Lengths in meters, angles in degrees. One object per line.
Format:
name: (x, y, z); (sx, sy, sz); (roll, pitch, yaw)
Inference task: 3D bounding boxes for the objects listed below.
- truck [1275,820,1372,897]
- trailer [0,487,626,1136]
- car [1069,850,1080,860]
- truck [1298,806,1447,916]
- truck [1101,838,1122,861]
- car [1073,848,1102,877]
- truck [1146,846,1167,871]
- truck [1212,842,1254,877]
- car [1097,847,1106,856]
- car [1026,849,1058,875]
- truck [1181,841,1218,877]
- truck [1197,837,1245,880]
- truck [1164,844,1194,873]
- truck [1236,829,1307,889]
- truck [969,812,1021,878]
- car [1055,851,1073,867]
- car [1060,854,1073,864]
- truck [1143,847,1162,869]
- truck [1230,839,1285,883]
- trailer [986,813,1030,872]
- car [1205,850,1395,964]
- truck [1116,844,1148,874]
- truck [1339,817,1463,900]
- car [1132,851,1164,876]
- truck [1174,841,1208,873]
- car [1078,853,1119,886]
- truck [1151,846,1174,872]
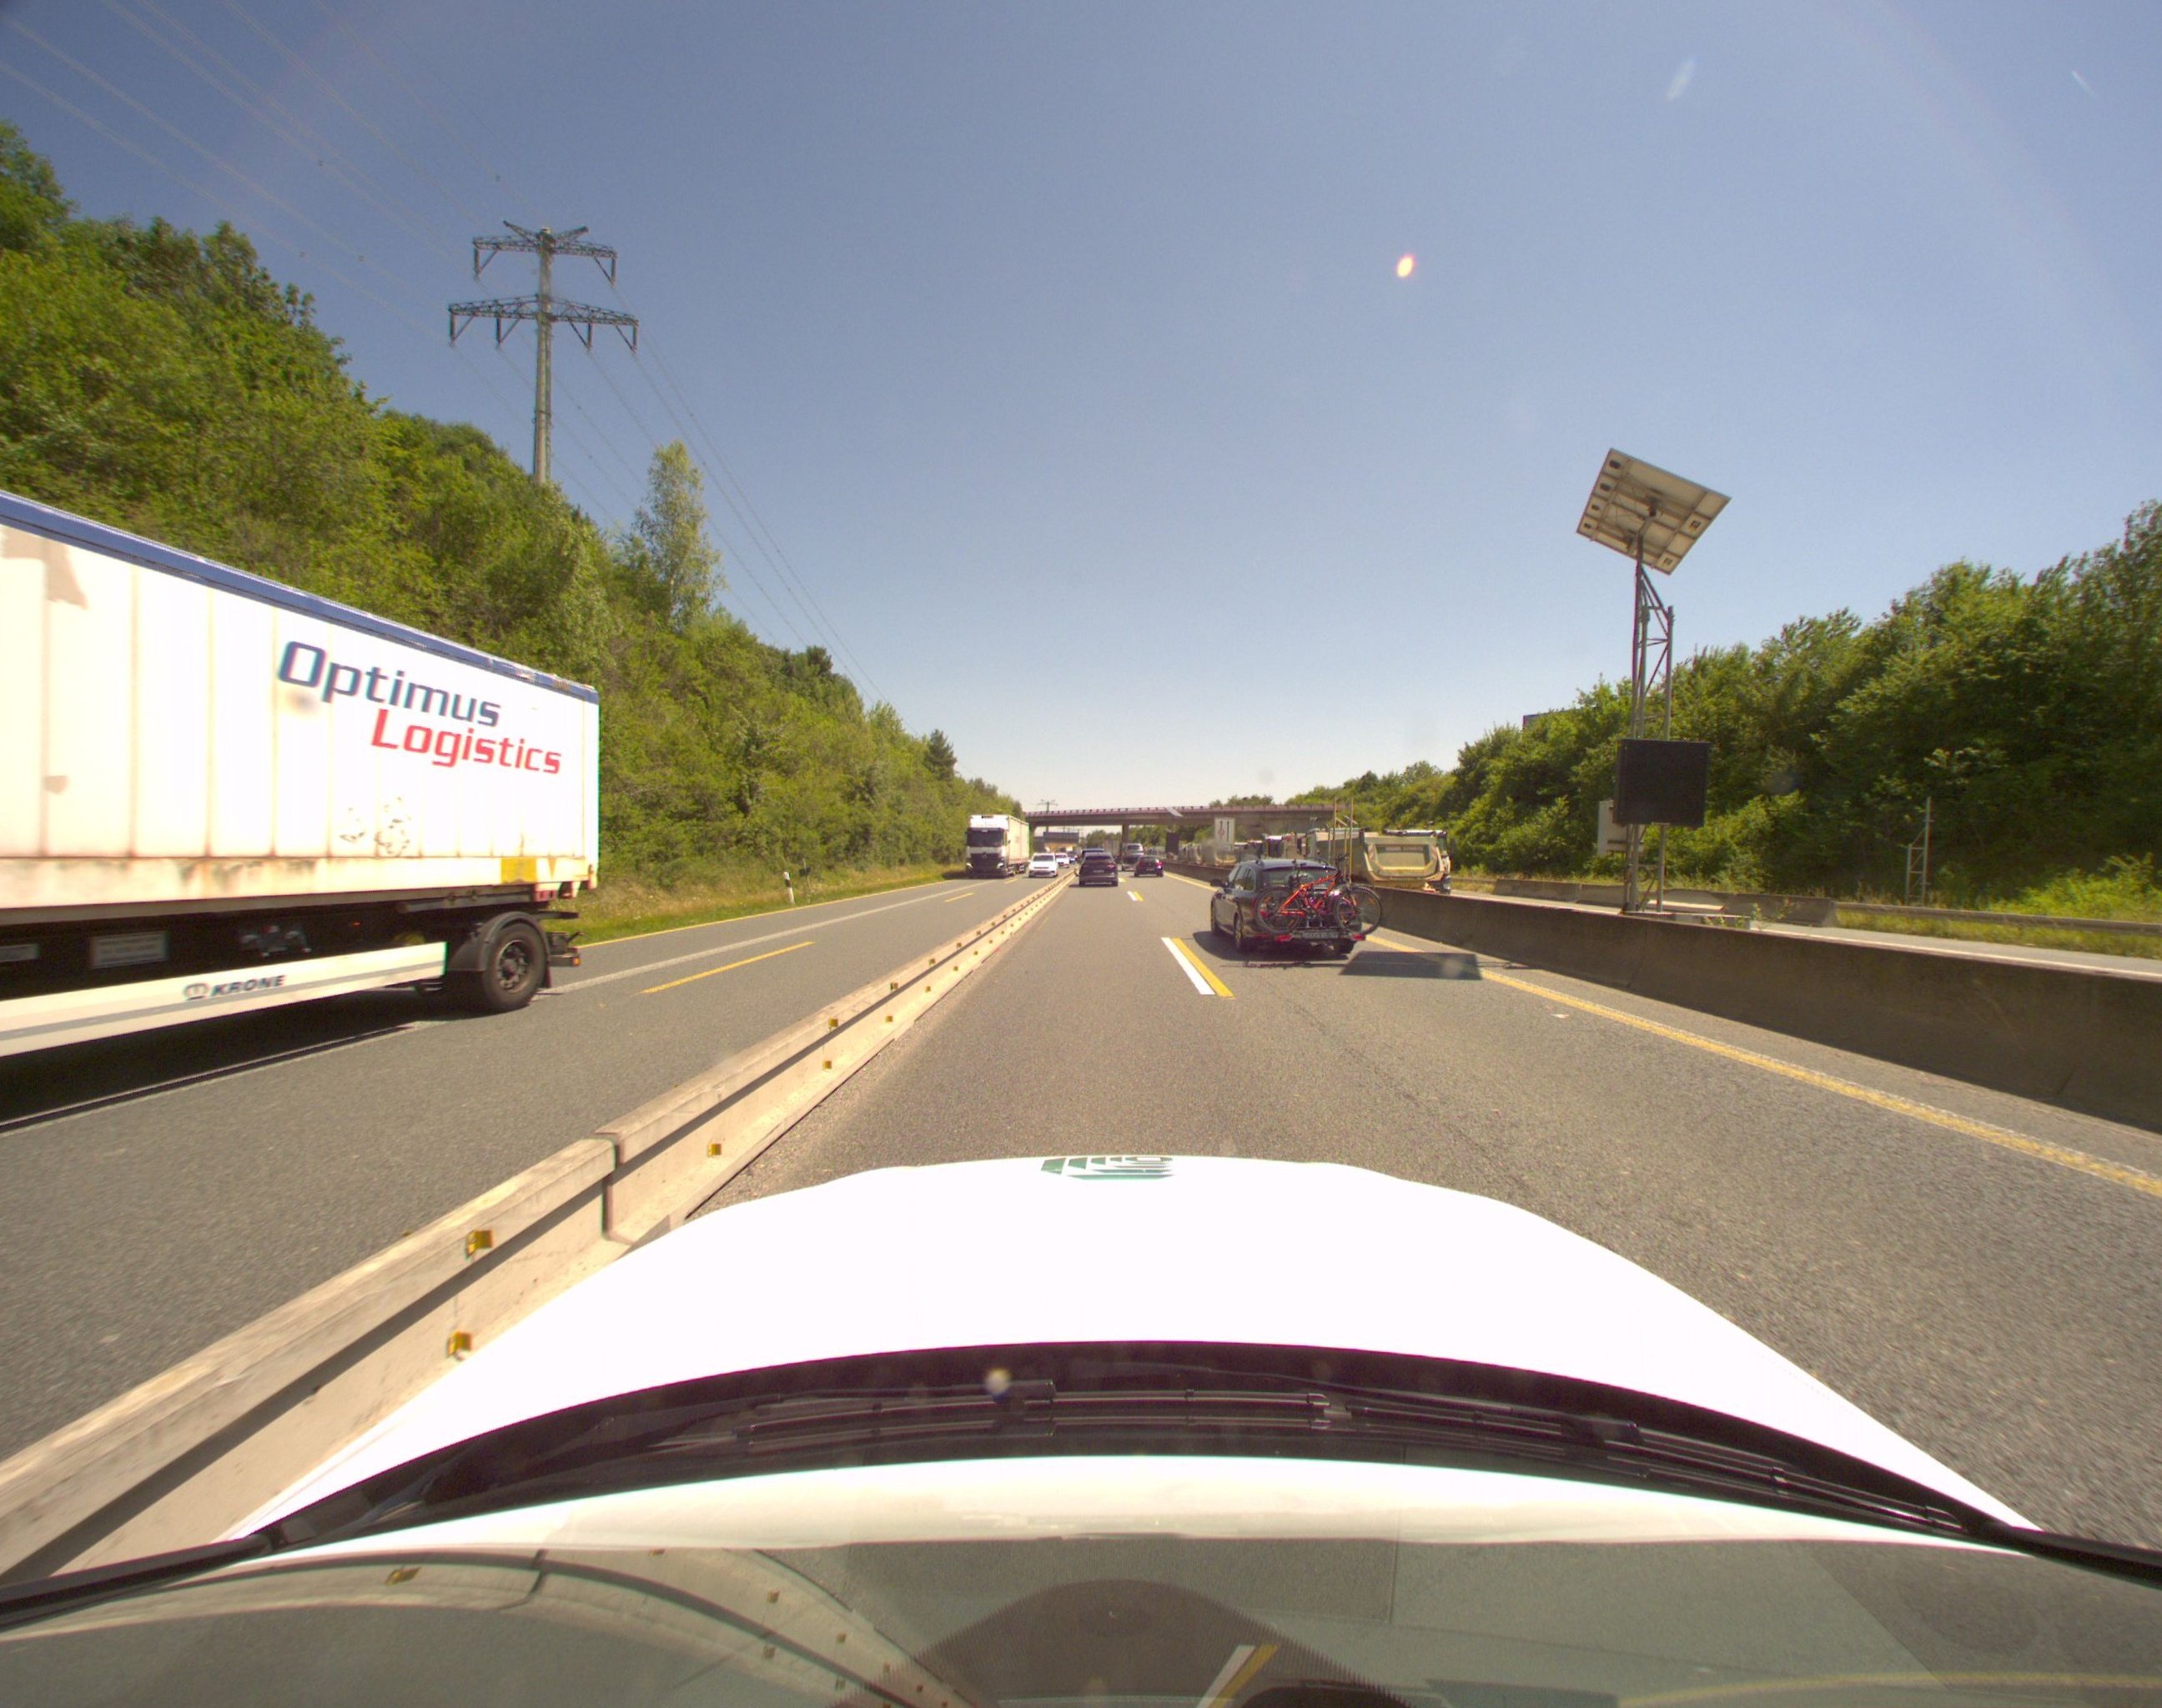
truck: (12.123, 0.200, 41.604); (2.523, 3.511, 8.948); (0, 0, 2)
trailer: (-6.844, -0.242, 5.096); (2.640, 3.336, 8.922); (2, 0, 2)
car: (-1.313, 0.141, 163.265); (1.884, 2.013, 4.819); (0, 0, 1)
truck: (10.580, 0.222, 30.757); (2.524, 3.511, 9.098); (0, 0, 1)
truck: (5.269, -0.774, 142.692); (3.283, 3.845, 10.104); (0, 0, -1)
car: (0.489, 0.590, 57.069); (1.892, 1.968, 4.278); (0, 0, 2)
truck: (12.407, 0.723, 134.060); (2.678, 3.856, 9.325); (0, 0, 0)
truck: (15.114, 0.518, 81.543); (2.677, 3.378, 9.606); (0, 0, 2)
car: (4.514, -0.590, 177.749); (1.892, 1.968, 4.278); (0, 0, 2)
car: (-2.550, 0.541, 53.839); (1.818, 1.631, 4.151); (0, 0, 1)
truck: (12.058, 0.472, 83.735); (2.677, 3.557, 9.409); (0, 0, 2)
truck: (12.100, 0.377, 71.286); (2.678, 3.557, 9.604); (0, 0, 1)
truck: (12.420, 0.521, 104.150); (2.678, 3.557, 9.324); (0, 0, 0)
truck: (12.138, 0.301, 52.886); (2.530, 3.557, 9.603); (0, 0, 1)
truck: (-5.640, -0.547, 54.846); (2.402, 3.992, 10.349); (1, 0, -1)
car: (-1.795, 0.548, 87.949); (1.757, 1.632, 4.297); (0, 0, 0)
car: (-2.084, 0.686, 118.643); (1.707, 1.425, 4.170); (0, 0, 0)
truck: (12.807, 0.735, 147.005); (2.678, 3.843, 9.325); (0, 0, 0)
truck: (14.850, 0.549, 69.268); (2.678, 3.557, 9.603); (0, 0, 1)
trailer: (-5.629, -0.827, 64.248); (2.629, 4.312, 8.446); (1, 0, 0)
car: (3.267, 0.716, 13.207); (1.892, 1.490, 4.949); (0, 0, 2)
truck: (4.452, 0.416, 72.270); (2.398, 2.558, 7.499); (0, 0, 0)
truck: (14.755, 0.186, 38.365); (2.678, 3.511, 8.381); (0, 0, 1)
car: (4.397, 0.613, 53.779); (1.892, 1.585, 4.277); (0, 0, 2)
truck: (12.741, 0.297, 95.119); (2.678, 3.557, 9.324); (0, 0, 0)
car: (0.857, 0.699, 39.215); (1.892, 1.505, 4.278); (0, 0, 2)
truck: (12.239, 0.688, 122.681); (2.678, 3.761, 9.325); (0, 0, 0)
